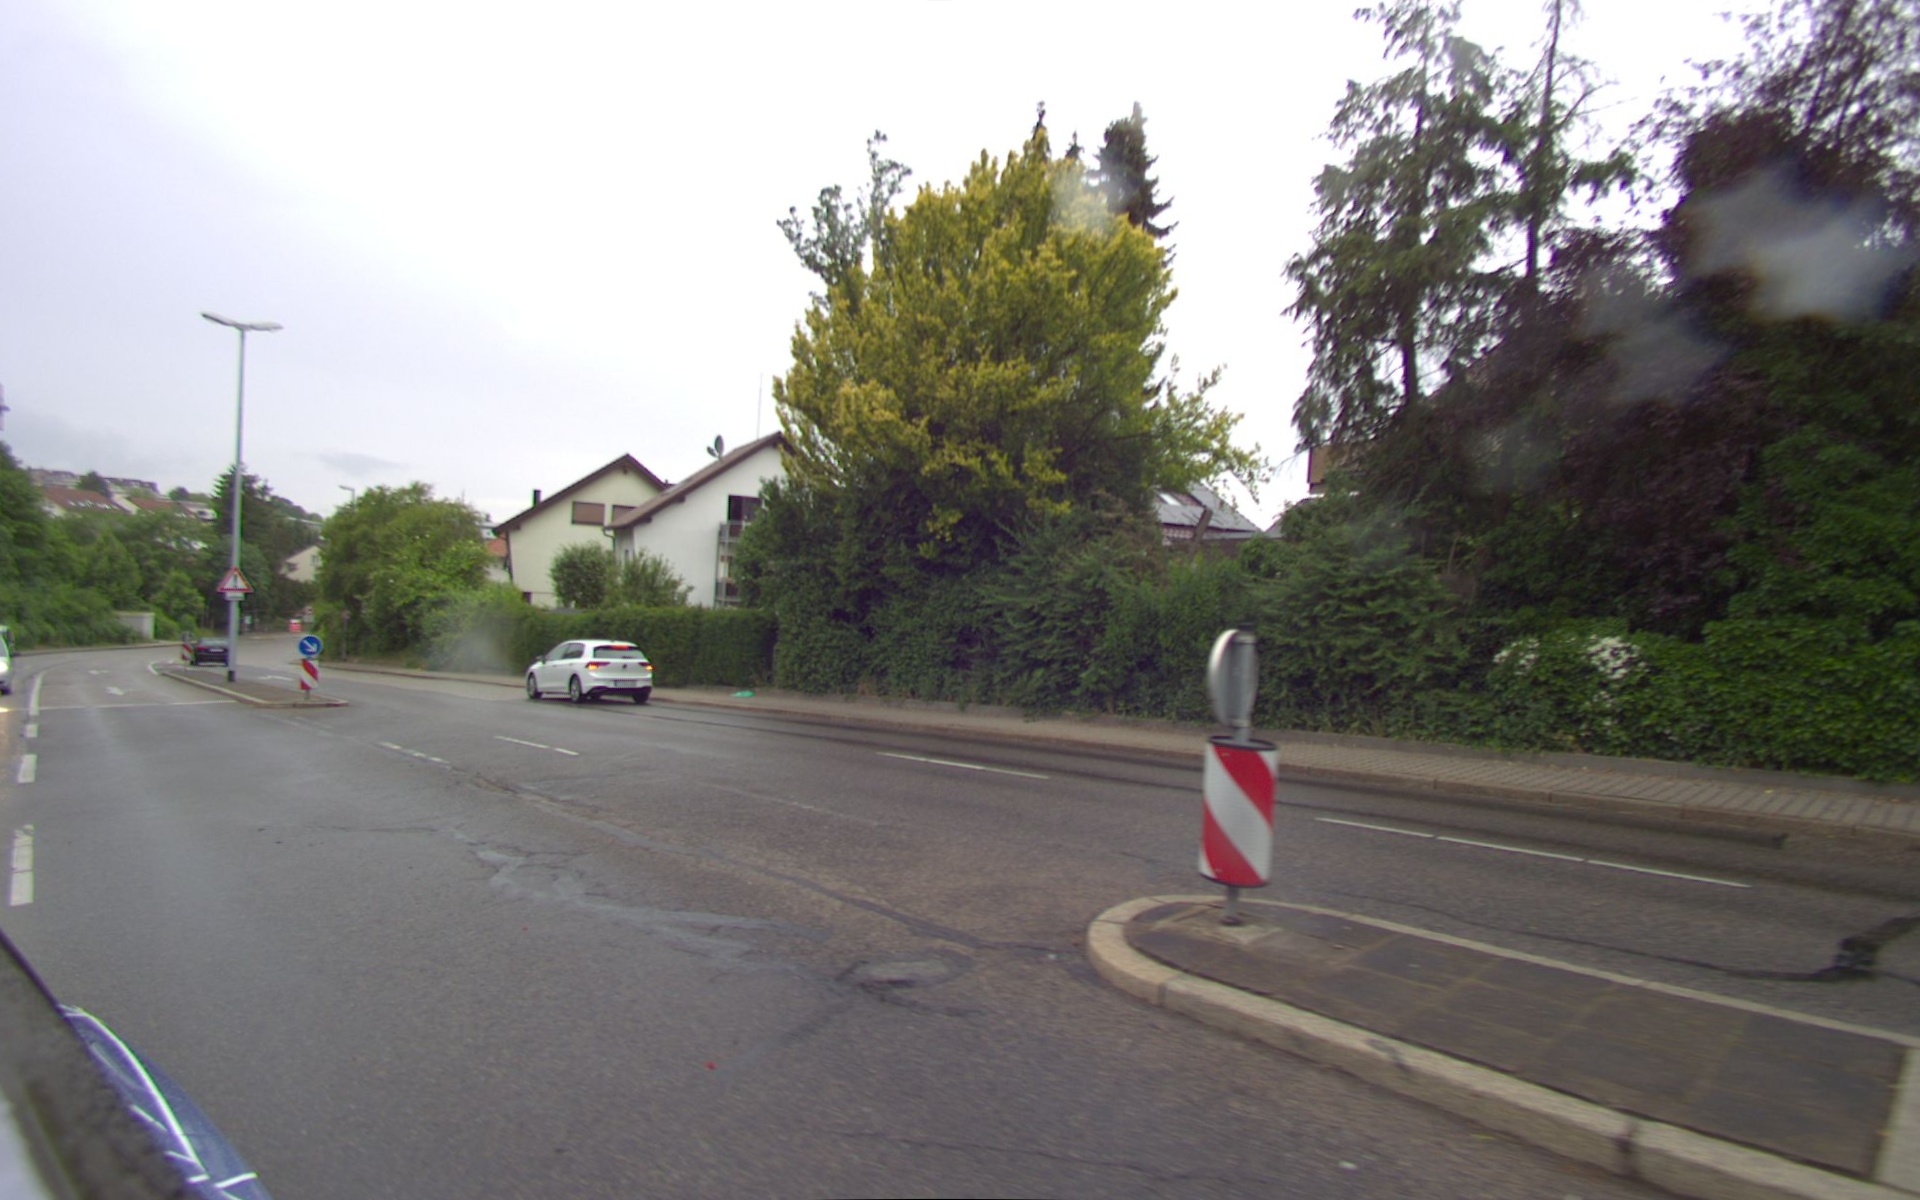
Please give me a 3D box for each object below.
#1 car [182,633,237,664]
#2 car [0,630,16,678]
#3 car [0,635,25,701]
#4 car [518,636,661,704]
[{"bbox_3d":[-38.438,2.496,51.804,1.840,1.504,3.838,4,-4,-42],"label":"car"},{"bbox_3d":[-38.057,2.042,39.176,1.786,1.821,4.128,3,-3,-38],"label":"car"},{"bbox_3d":[-25.235,1.688,25.861,1.787,1.567,4.125,4,-4,-41],"label":"car"},{"bbox_3d":[-8.940,1.636,24.235,1.707,1.497,4.161,5,-5,-42],"label":"car"}]
